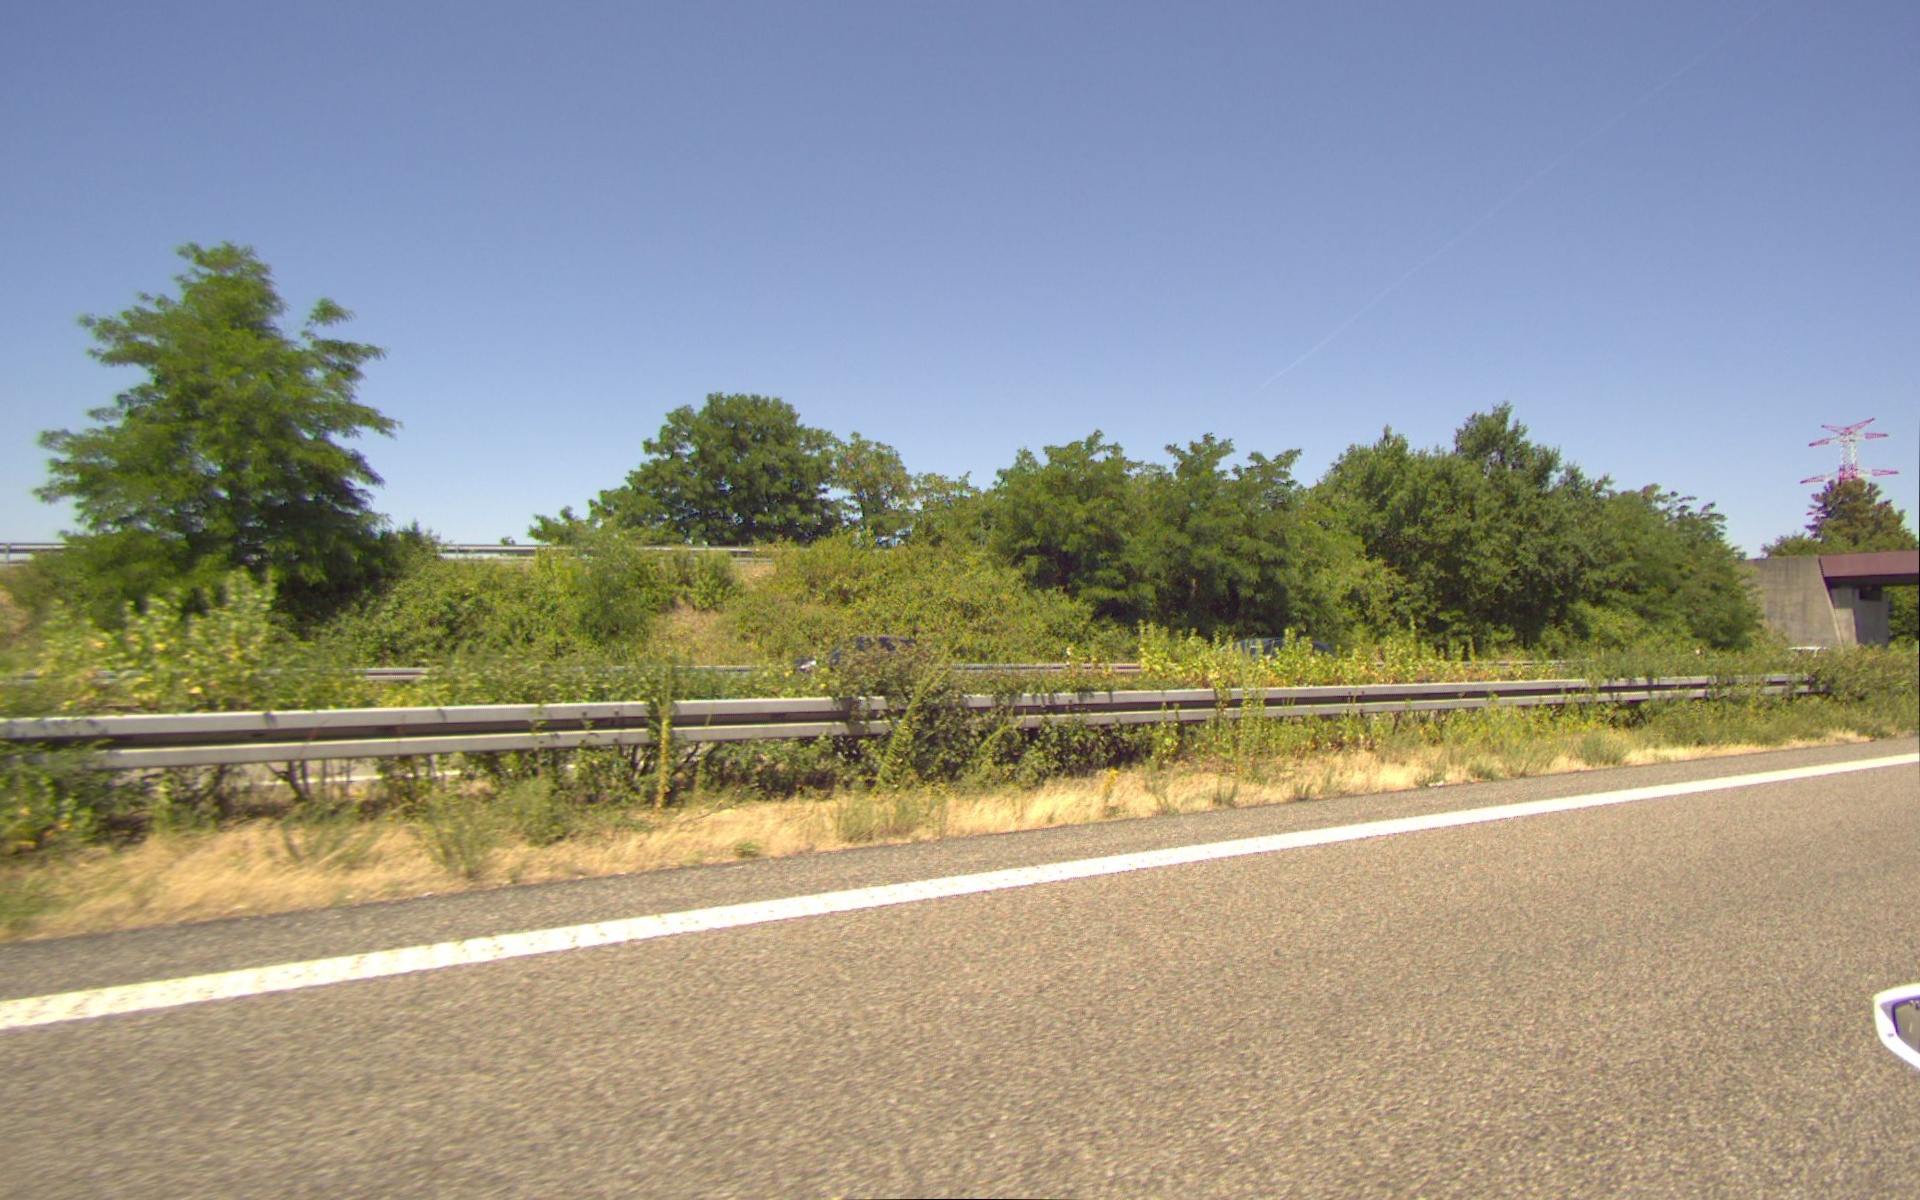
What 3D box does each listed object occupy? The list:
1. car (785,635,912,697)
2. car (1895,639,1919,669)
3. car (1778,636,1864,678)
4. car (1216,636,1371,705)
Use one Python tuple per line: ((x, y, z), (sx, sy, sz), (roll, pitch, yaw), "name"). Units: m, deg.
((-3.161, 1.846, 28.614), (3.325, 1.635, 1.367), (1, 1, -31), "car")
((59.731, 3.335, 61.984), (4.349, 1.792, 1.693), (2, 0, -29), "car")
((40.971, 2.690, 47.786), (4.208, 1.861, 1.794), (1, 0, -31), "car")
((7.516, 1.537, 22.617), (3.287, 1.448, 1.543), (1, -2, -31), "car")
